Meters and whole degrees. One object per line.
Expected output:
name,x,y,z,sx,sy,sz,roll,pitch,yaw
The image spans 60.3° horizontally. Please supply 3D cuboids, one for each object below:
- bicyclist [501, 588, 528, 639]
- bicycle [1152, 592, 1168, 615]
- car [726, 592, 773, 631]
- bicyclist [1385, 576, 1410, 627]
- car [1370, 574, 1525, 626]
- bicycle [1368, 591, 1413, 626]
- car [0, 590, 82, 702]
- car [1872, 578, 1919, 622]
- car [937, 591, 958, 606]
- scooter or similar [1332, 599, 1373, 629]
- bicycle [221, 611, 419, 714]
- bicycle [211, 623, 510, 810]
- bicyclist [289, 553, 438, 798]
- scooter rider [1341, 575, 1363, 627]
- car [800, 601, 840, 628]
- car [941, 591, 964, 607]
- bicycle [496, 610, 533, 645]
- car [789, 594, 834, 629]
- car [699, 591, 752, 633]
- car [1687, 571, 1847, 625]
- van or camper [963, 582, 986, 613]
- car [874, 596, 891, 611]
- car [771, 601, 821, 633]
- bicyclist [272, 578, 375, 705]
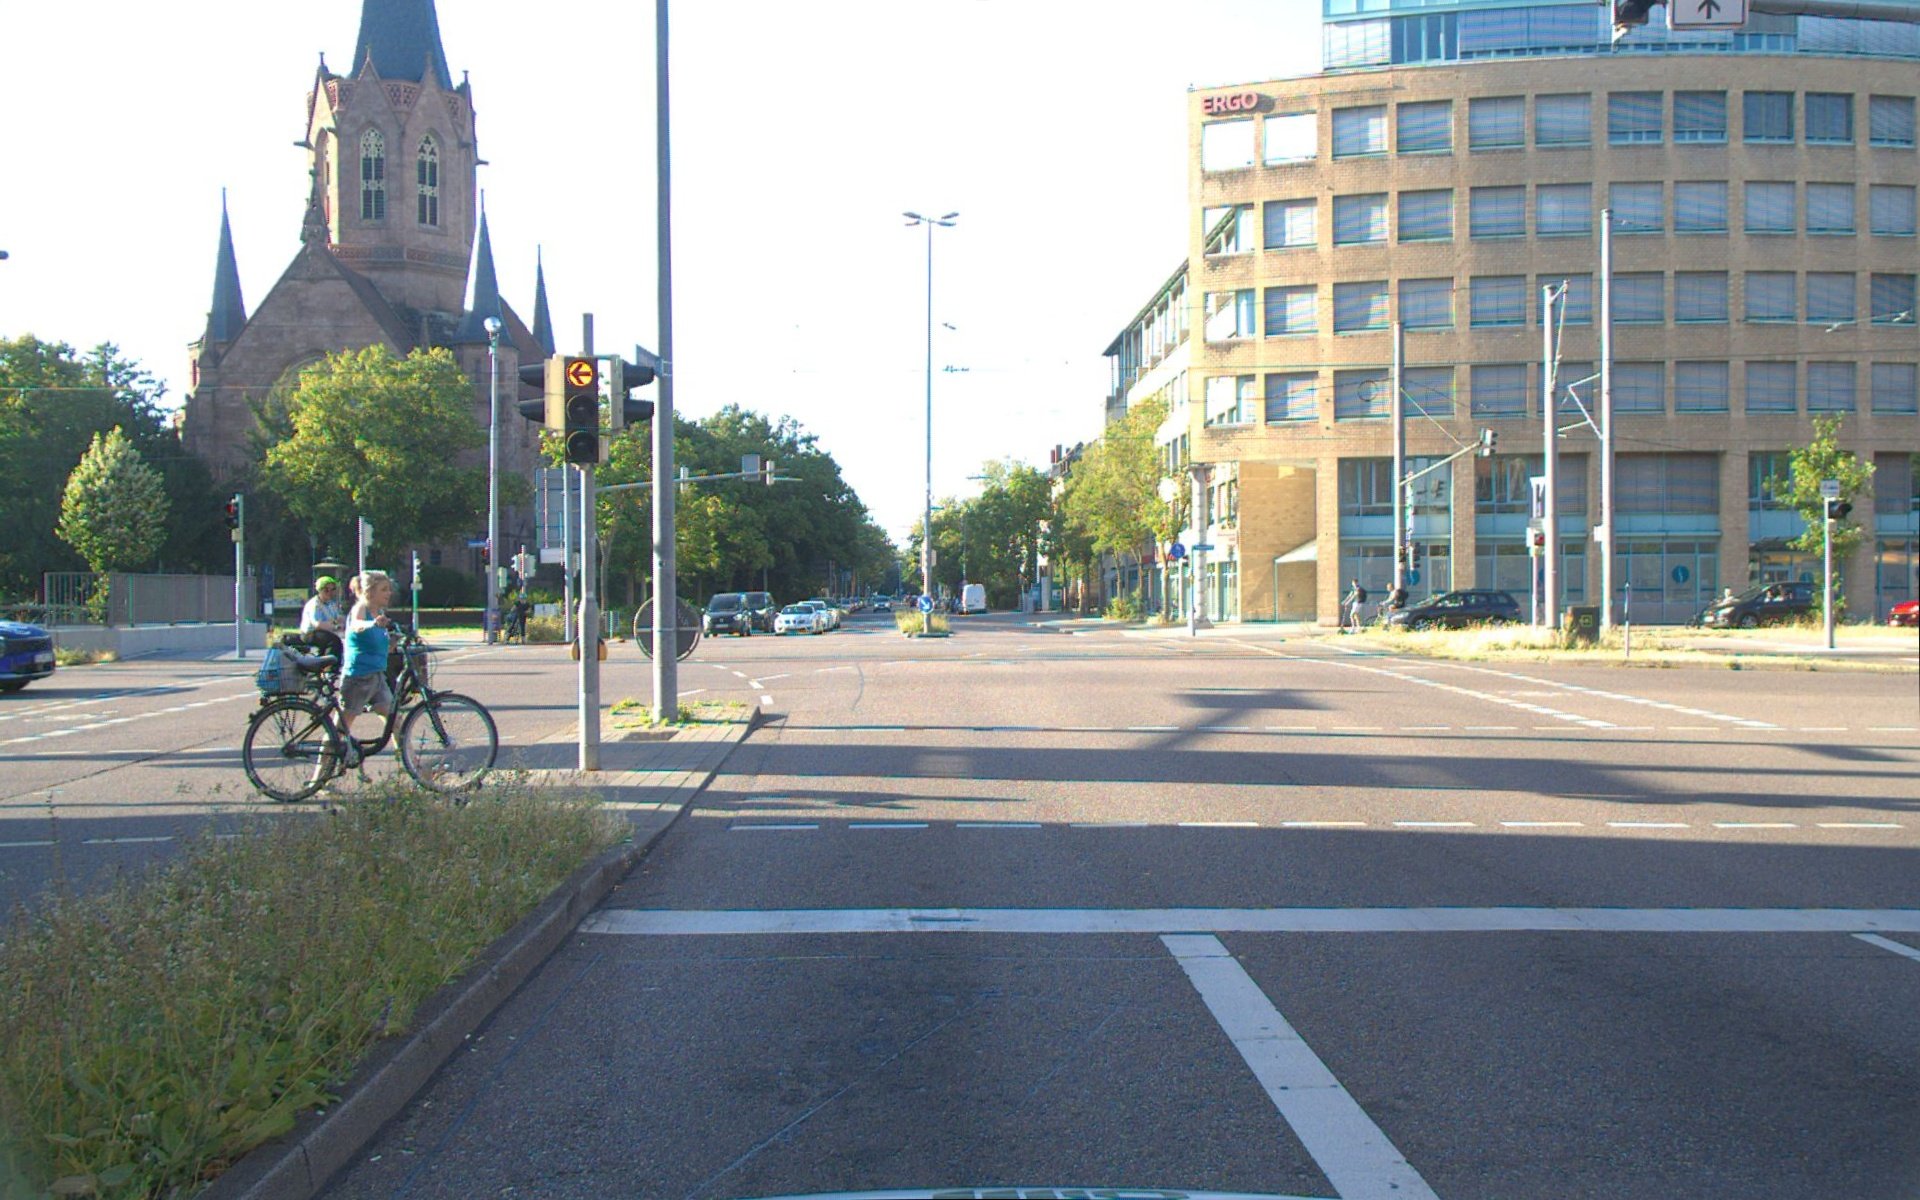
bicyclist,-15.256,0.462,56.692,0.634,1.723,0.771,-1,0,-38
bicycle,10.562,0.174,87.412,0.757,1.216,2.467,-1,0,6
car,-9.752,0.497,76.934,1.744,1.733,3.999,-1,1,-1
bicyclist,15.301,0.057,57.868,0.774,1.766,0.475,-1,0,5
car,16.196,-0.017,55.068,4.556,1.626,1.998,-1,0,-5
bicycle,15.063,0.303,57.887,1.487,1.193,0.475,-1,0,5
car,-15.782,0.680,24.702,4.313,1.601,1.836,-1,0,-1
car,31.563,-0.031,53.183,3.535,1.366,1.721,-1,0,-2
car,-1.319,-0.171,179.942,1.955,1.620,3.996,-1,1,-5
scooter or similar,13.940,0.502,58.741,1.371,1.019,0.475,-1,0,5
bicycle,-7.886,0.747,20.470,2.002,1.188,1.161,-1,0,-4
bicycle,-4.117,0.783,11.455,1.791,1.209,0.733,-1,0,-3
bicyclist,-4.290,0.522,11.951,0.767,1.689,0.900,-1,0,-4
scooter rider,13.913,0.028,58.744,0.666,1.846,0.475,-1,0,5
car,-6.993,0.690,82.964,1.744,1.257,3.999,-1,1,-1
car,-0.830,-0.086,174.289,1.956,1.620,3.994,-1,1,-7
bicycle,-15.302,0.933,56.762,0.641,1.159,1.657,-1,0,-38
car,-6.771,0.515,75.674,1.744,1.490,3.999,-1,1,-1
car,-9.816,0.463,69.529,1.744,1.676,3.999,-1,1,-1
car,25.674,-0.070,52.712,4.142,1.642,2.000,-1,0,-1
van or camper,1.326,-0.264,149.188,1.953,2.686,5.350,-1,0,-1
car,-8.018,0.344,171.219,1.744,1.474,3.999,-1,1,-1
car,-6.827,0.688,69.096,1.744,1.257,3.999,-1,1,-1
bicyclist,-7.871,0.491,20.504,0.862,1.513,1.161,-1,0,-4
